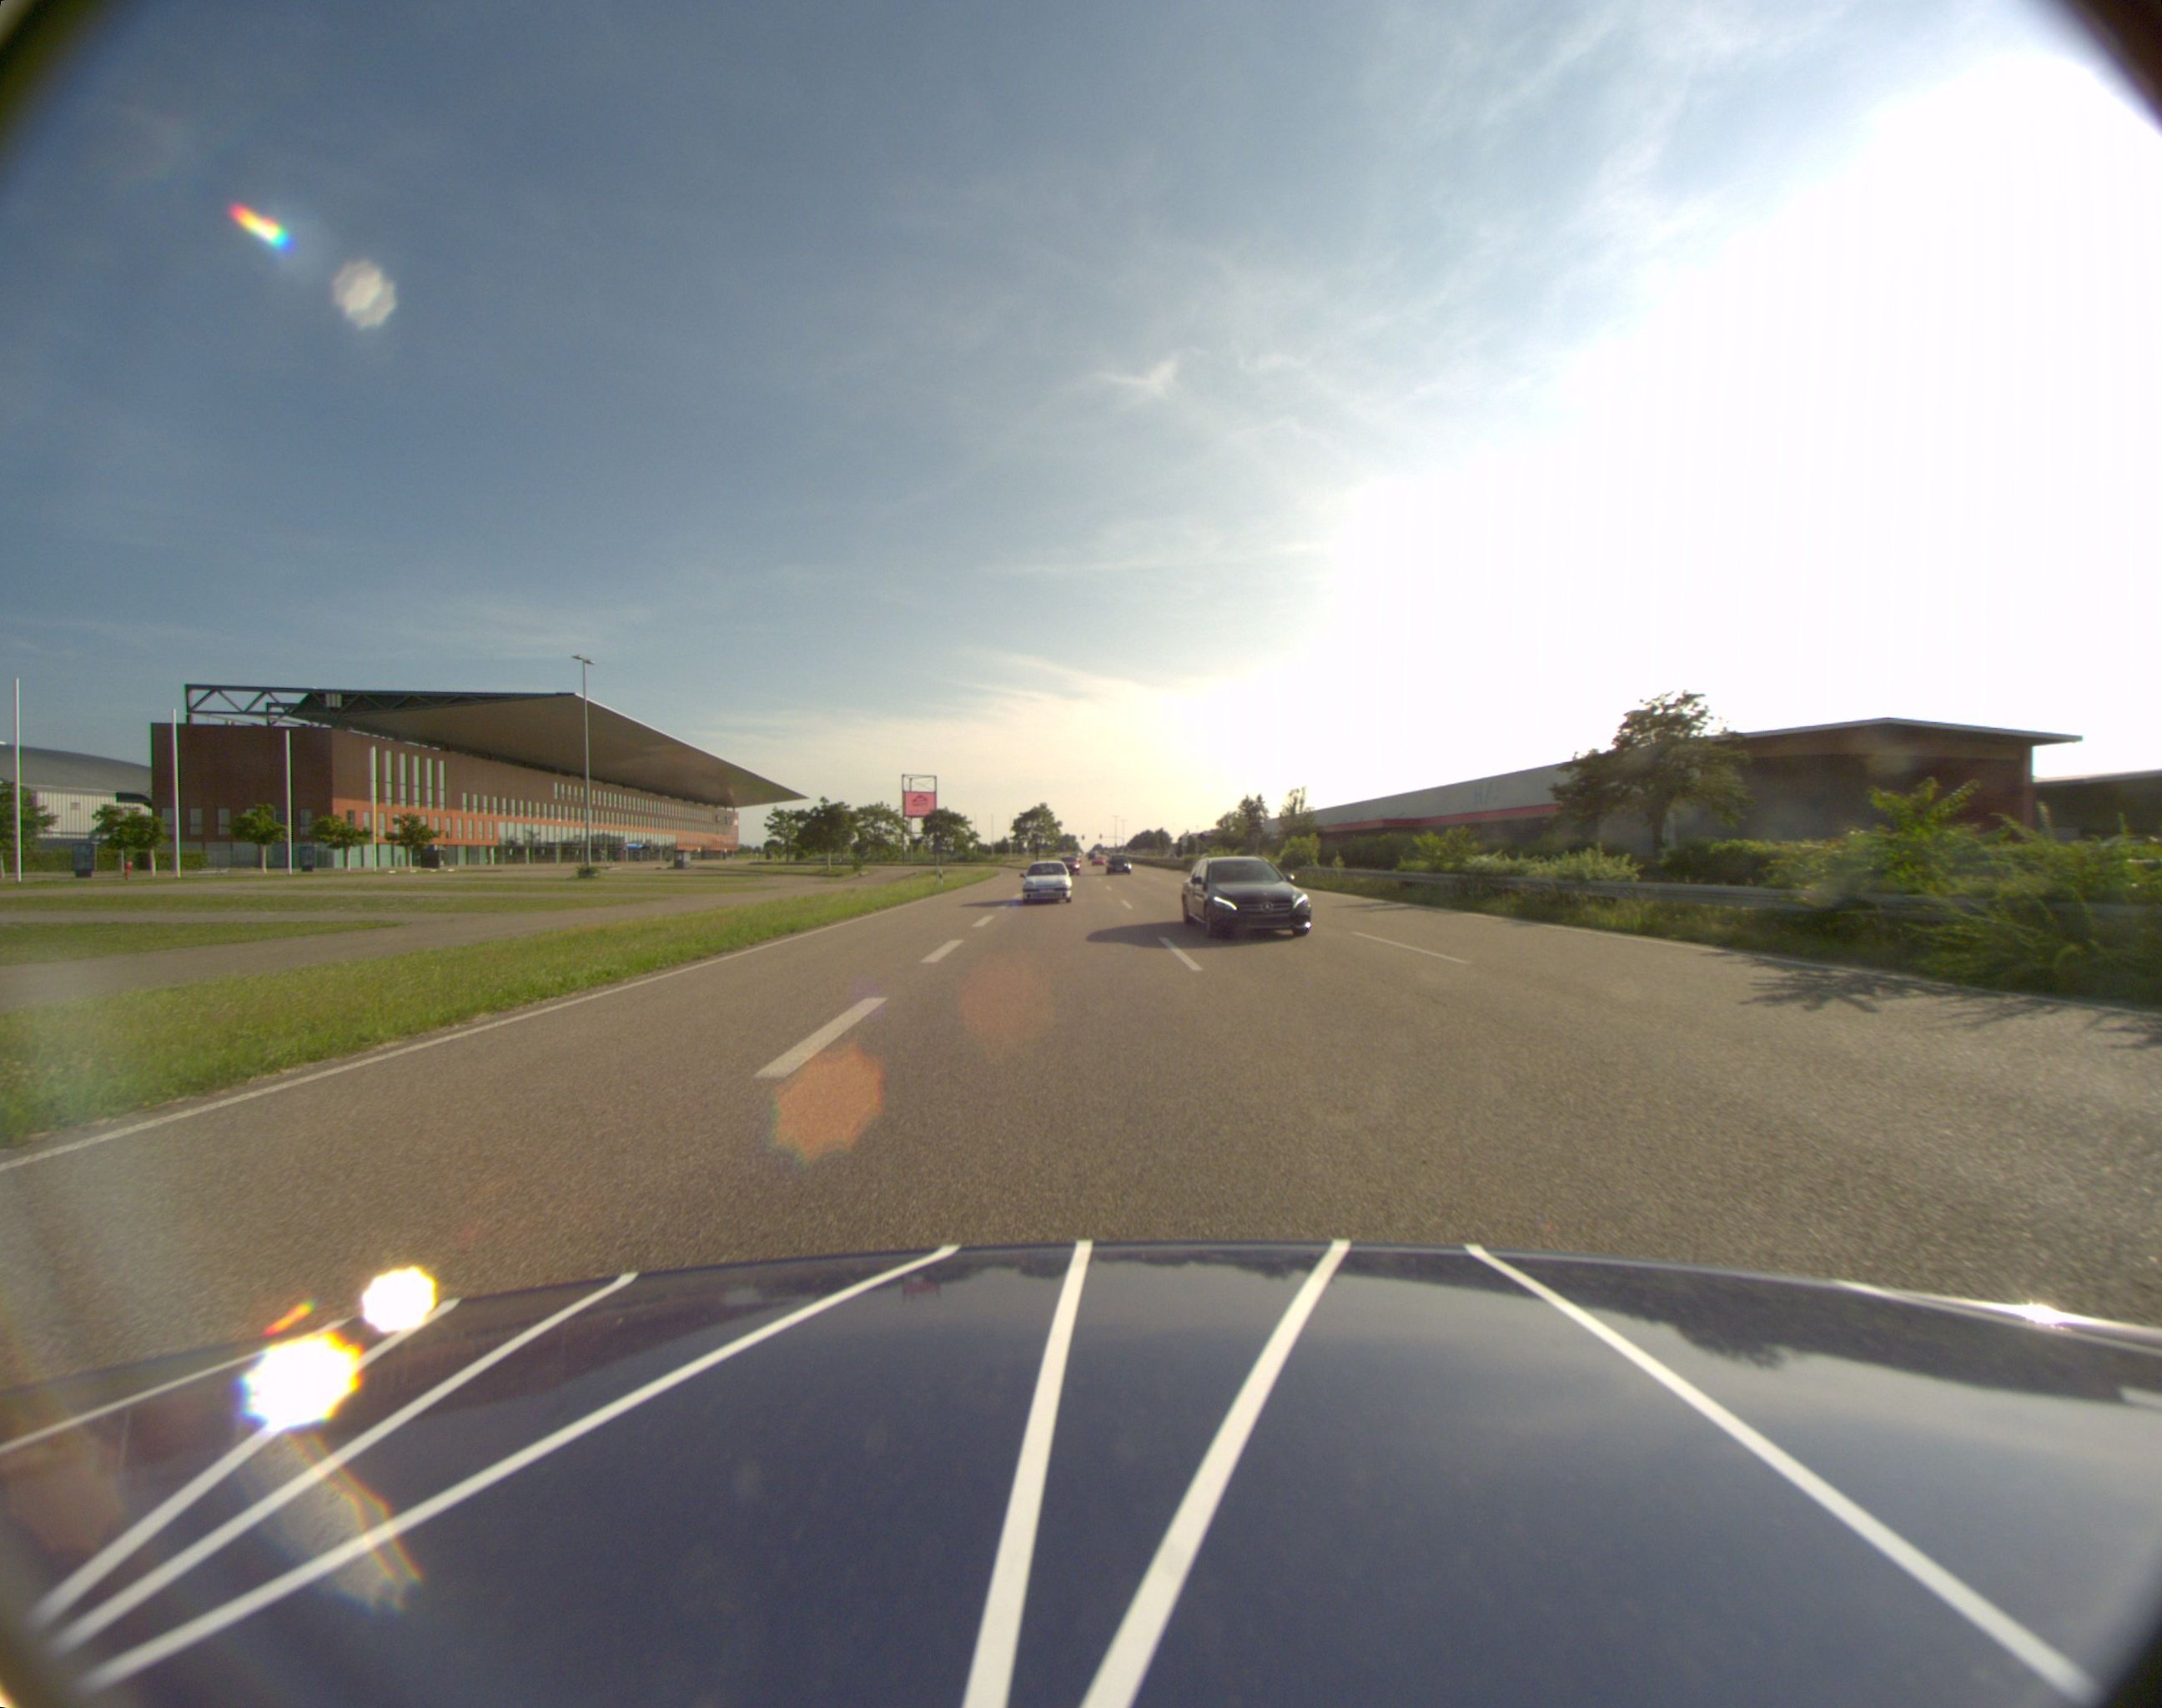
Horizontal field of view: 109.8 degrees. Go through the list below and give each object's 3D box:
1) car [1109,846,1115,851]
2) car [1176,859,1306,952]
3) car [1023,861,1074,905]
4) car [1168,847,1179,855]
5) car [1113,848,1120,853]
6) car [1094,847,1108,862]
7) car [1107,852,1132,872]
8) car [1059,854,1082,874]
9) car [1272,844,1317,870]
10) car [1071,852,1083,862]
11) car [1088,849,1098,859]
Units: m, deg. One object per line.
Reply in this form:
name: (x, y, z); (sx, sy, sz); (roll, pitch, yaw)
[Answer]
car: (10.290, -1.832, 253.868); (1.751, 1.512, 3.738); (-1, 0, -2)
car: (2.989, 0.876, 15.211); (1.576, 1.462, 5.022); (-1, 0, 1)
car: (-1.078, 0.954, 26.398); (1.578, 1.371, 3.451); (-1, 0, 0)
car: (18.956, -0.626, 156.006); (1.784, 1.416, 4.000); (0, 1, 1)
car: (10.727, -1.077, 230.136); (1.711, 1.428, 3.564); (-1, 0, 0)
car: (2.620, 0.017, 99.905); (1.799, 1.926, 3.999); (-1, 1, 0)
car: (2.936, 0.576, 58.651); (1.758, 1.499, 3.422); (-1, 0, 0)
car: (-0.820, 0.809, 60.940); (1.751, 1.512, 3.739); (-1, 0, 0)
car: (14.557, 0.155, 52.127); (1.933, 1.603, 3.999); (-2, 1, 0)
car: (-0.585, 0.412, 117.143); (1.751, 1.512, 3.739); (-1, 0, 0)
car: (2.421, -0.084, 157.378); (1.998, 2.002, 3.999); (-1, 1, 0)
